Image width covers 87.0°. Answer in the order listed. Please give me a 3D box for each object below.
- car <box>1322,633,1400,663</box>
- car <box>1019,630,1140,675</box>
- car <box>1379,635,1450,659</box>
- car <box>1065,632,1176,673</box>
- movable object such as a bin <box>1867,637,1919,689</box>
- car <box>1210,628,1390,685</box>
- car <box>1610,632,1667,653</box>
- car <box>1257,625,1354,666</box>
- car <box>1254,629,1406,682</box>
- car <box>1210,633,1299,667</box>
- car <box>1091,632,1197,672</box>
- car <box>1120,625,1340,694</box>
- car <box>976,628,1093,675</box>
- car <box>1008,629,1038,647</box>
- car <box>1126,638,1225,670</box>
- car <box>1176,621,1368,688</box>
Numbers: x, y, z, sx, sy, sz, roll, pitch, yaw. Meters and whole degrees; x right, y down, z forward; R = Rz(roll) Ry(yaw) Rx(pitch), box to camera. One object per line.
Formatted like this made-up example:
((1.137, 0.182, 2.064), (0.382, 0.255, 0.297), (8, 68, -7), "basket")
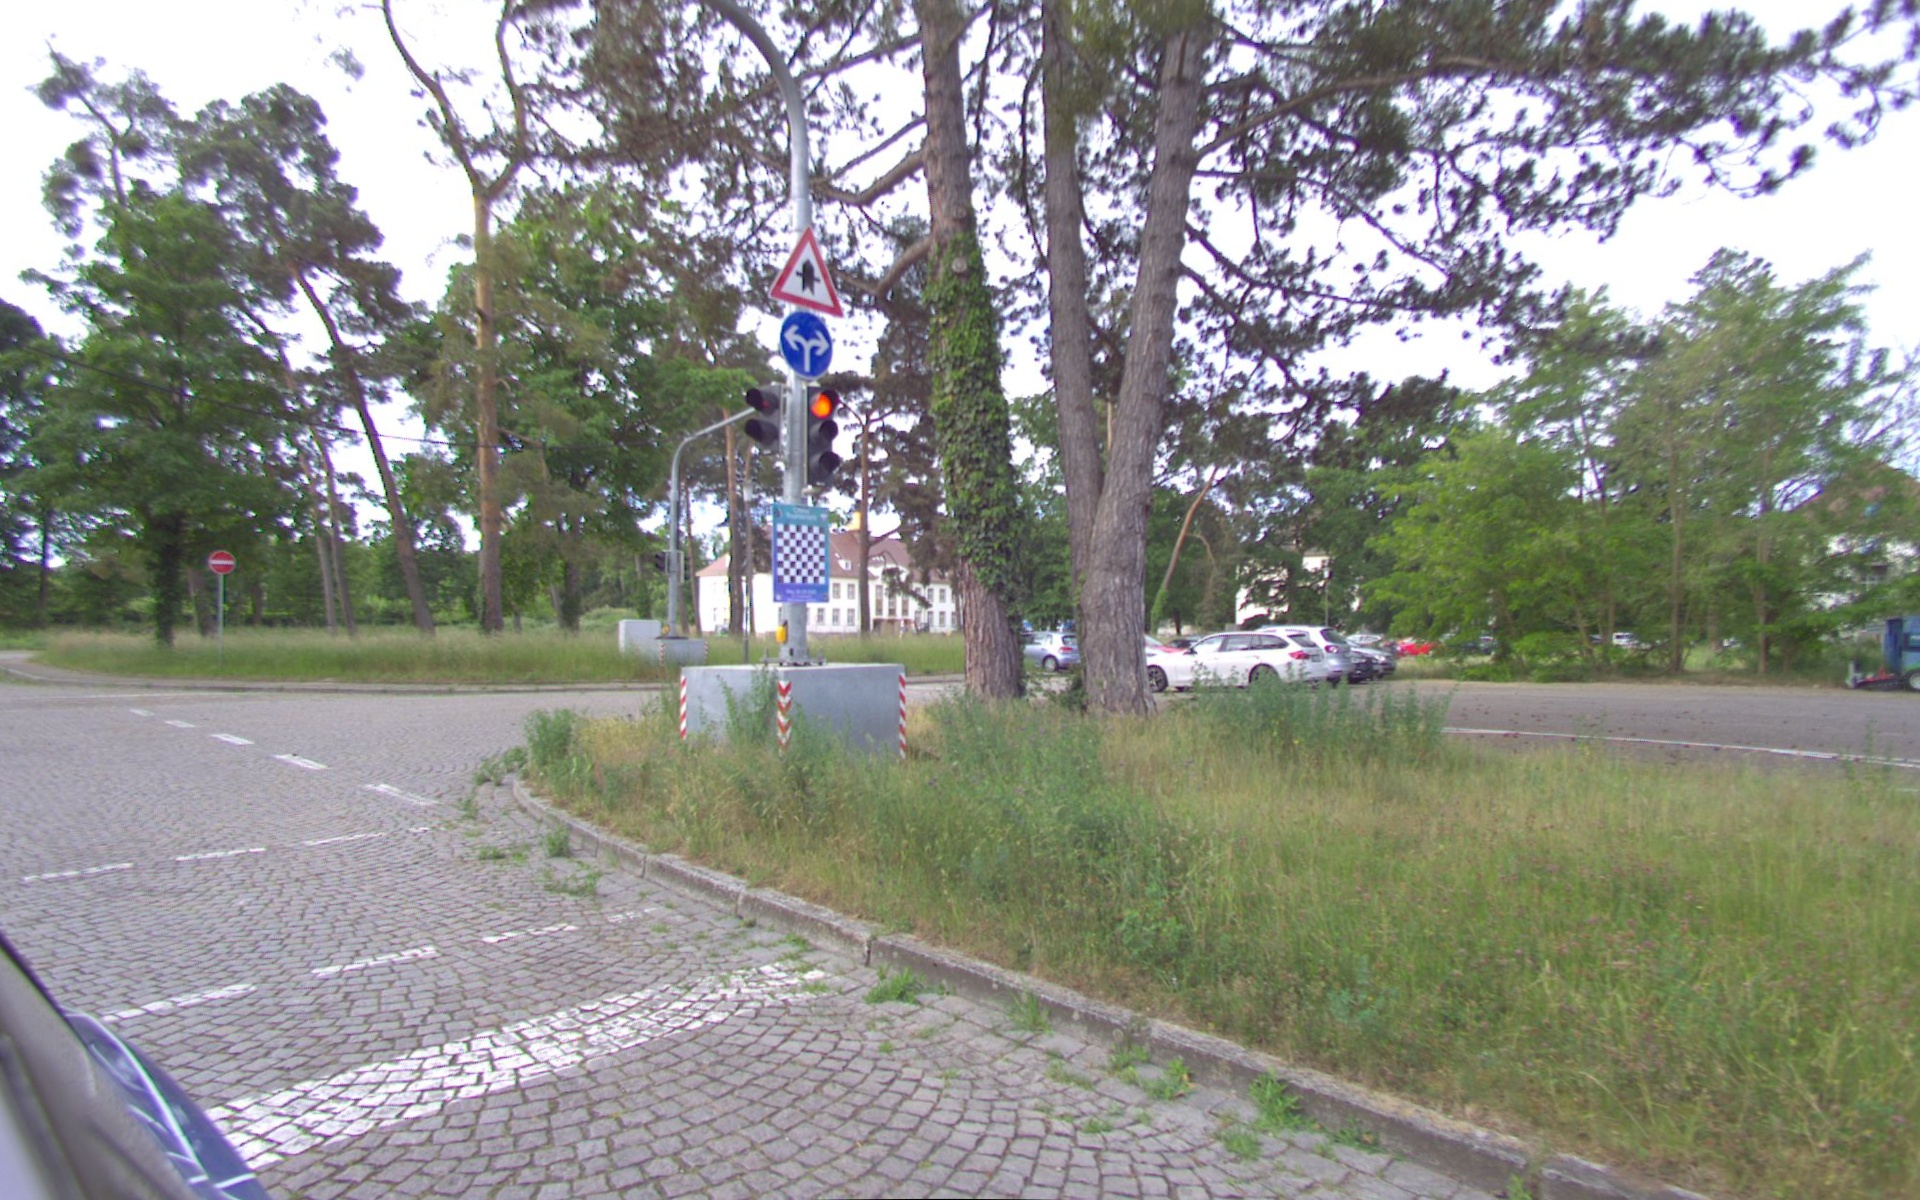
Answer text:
((24.180, 2.875, 61.055), (1.630, 1.605, 4.090), (3, -2, -45), "car")
((4.532, 1.972, 38.767), (4.441, 1.394, 1.641), (2, 0, 41), "car")
((30.838, 3.190, 68.745), (4.089, 1.455, 1.701), (0, -2, 44), "car")
((6.414, 2.076, 40.710), (1.692, 1.485, 4.253), (3, -2, -45), "car")
((21.596, 1.403, 22.377), (2.268, 1.134, 0.847), (0, -1, 41), "movable object such as a bin")
((9.463, 1.611, 28.372), (4.446, 1.435, 1.699), (-5, -5, 41), "car")
((75.652, 4.739, 112.817), (5.147, 2.165, 1.751), (0, -2, 40), "car")
((18.521, 2.400, 54.349), (4.608, 2.021, 1.884), (0, -1, 45), "car")
((11.078, 1.689, 30.469), (3.959, 1.481, 1.564), (-5, -4, 40), "car")
((14.693, 2.472, 50.611), (1.577, 1.528, 4.056), (3, -2, -45), "car")
((7.748, 2.170, 42.803), (4.187, 1.493, 1.693), (0, -2, 43), "car")
((6.381, 1.449, 24.250), (4.751, 1.499, 1.841), (-4, -5, 40), "car")
((2.680, 1.854, 36.955), (4.013, 1.439, 1.674), (2, 0, 41), "car")
((8.692, 5.221, 139.272), (1.863, 2.382, 4.385), (-3, -3, 42), "car")
((9.378, 2.327, 44.225), (4.054, 1.250, 1.527), (0, -2, 43), "car")
((8.008, 1.423, 26.175), (4.369, 1.610, 1.849), (-3, -4, 37), "car")
